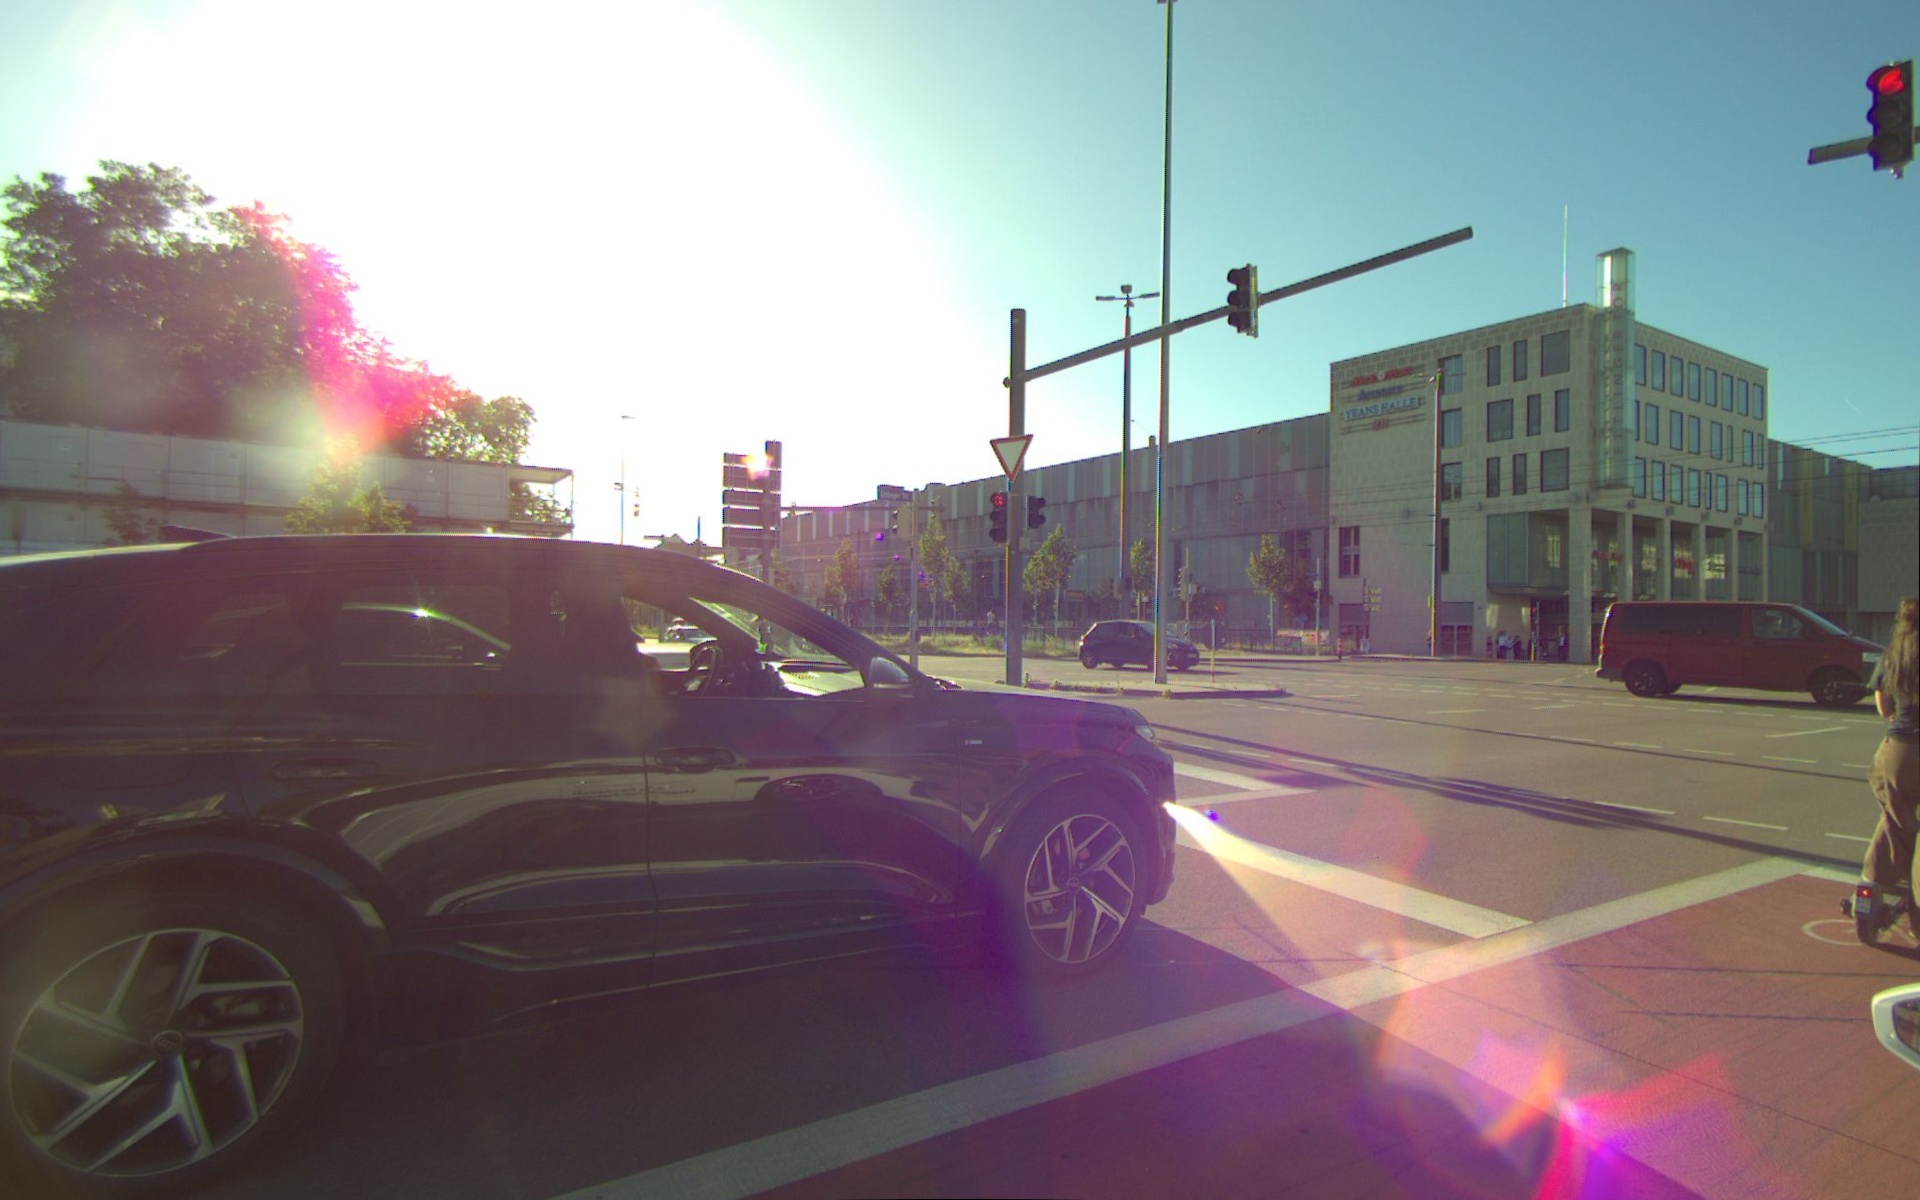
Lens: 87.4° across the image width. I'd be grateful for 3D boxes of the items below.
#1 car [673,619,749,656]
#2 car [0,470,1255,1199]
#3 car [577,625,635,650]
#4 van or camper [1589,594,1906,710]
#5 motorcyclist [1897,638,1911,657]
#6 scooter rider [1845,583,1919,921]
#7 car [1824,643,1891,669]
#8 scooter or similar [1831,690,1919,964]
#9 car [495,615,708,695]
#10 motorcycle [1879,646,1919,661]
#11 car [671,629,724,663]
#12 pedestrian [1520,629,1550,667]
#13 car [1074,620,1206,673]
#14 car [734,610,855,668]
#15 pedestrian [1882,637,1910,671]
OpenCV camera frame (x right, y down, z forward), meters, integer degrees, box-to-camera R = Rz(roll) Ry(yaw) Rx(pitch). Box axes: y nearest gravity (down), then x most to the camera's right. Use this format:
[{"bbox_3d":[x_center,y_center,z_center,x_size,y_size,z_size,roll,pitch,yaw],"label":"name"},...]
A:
[{"bbox_3d":[-13.415,1.988,53.955,1.873,1.888,4.771,2,-2,-43],"label":"car"},{"bbox_3d":[-1.230,0.607,4.080,4.613,1.729,2.153,1,0,-32],"label":"car"},{"bbox_3d":[-24.156,2.540,68.512,1.985,1.585,5.037,2,-2,-42],"label":"car"},{"bbox_3d":[15.703,0.972,20.247,1.992,2.040,4.783,2,-2,-42],"label":"van or camper"},{"bbox_3d":[70.926,3.554,75.476,0.657,1.424,0.623,2,0,-38],"label":"motorcyclist"},{"bbox_3d":[4.585,0.700,4.729,0.445,1.550,0.548,1,-1,-38],"label":"scooter rider"},{"bbox_3d":[49.642,3.076,55.553,3.975,1.375,1.668,1,-1,-31],"label":"car"},{"bbox_3d":[4.327,1.005,4.677,0.832,1.122,0.303,2,-1,-42],"label":"scooter or similar"},{"bbox_3d":[-7.389,1.093,20.728,3.930,1.500,1.869,1,-1,-28],"label":"car"},{"bbox_3d":[70.802,4.025,75.325,1.106,1.006,2.582,2,0,-38],"label":"motorcycle"},{"bbox_3d":[-11.577,1.988,44.188,1.705,1.395,3.921,1,-1,-23],"label":"car"},{"bbox_3d":[26.159,2.191,45.704,0.994,1.697,0.818,1,-1,-33],"label":"pedestrian"},{"bbox_3d":[5.536,1.385,31.156,1.660,1.530,3.824,2,-2,-44],"label":"car"},{"bbox_3d":[-6.081,1.372,36.483,1.876,1.947,4.865,2,-2,-45],"label":"car"},{"bbox_3d":[45.684,2.624,49.022,0.613,1.660,0.779,1,-1,1],"label":"pedestrian"}]
